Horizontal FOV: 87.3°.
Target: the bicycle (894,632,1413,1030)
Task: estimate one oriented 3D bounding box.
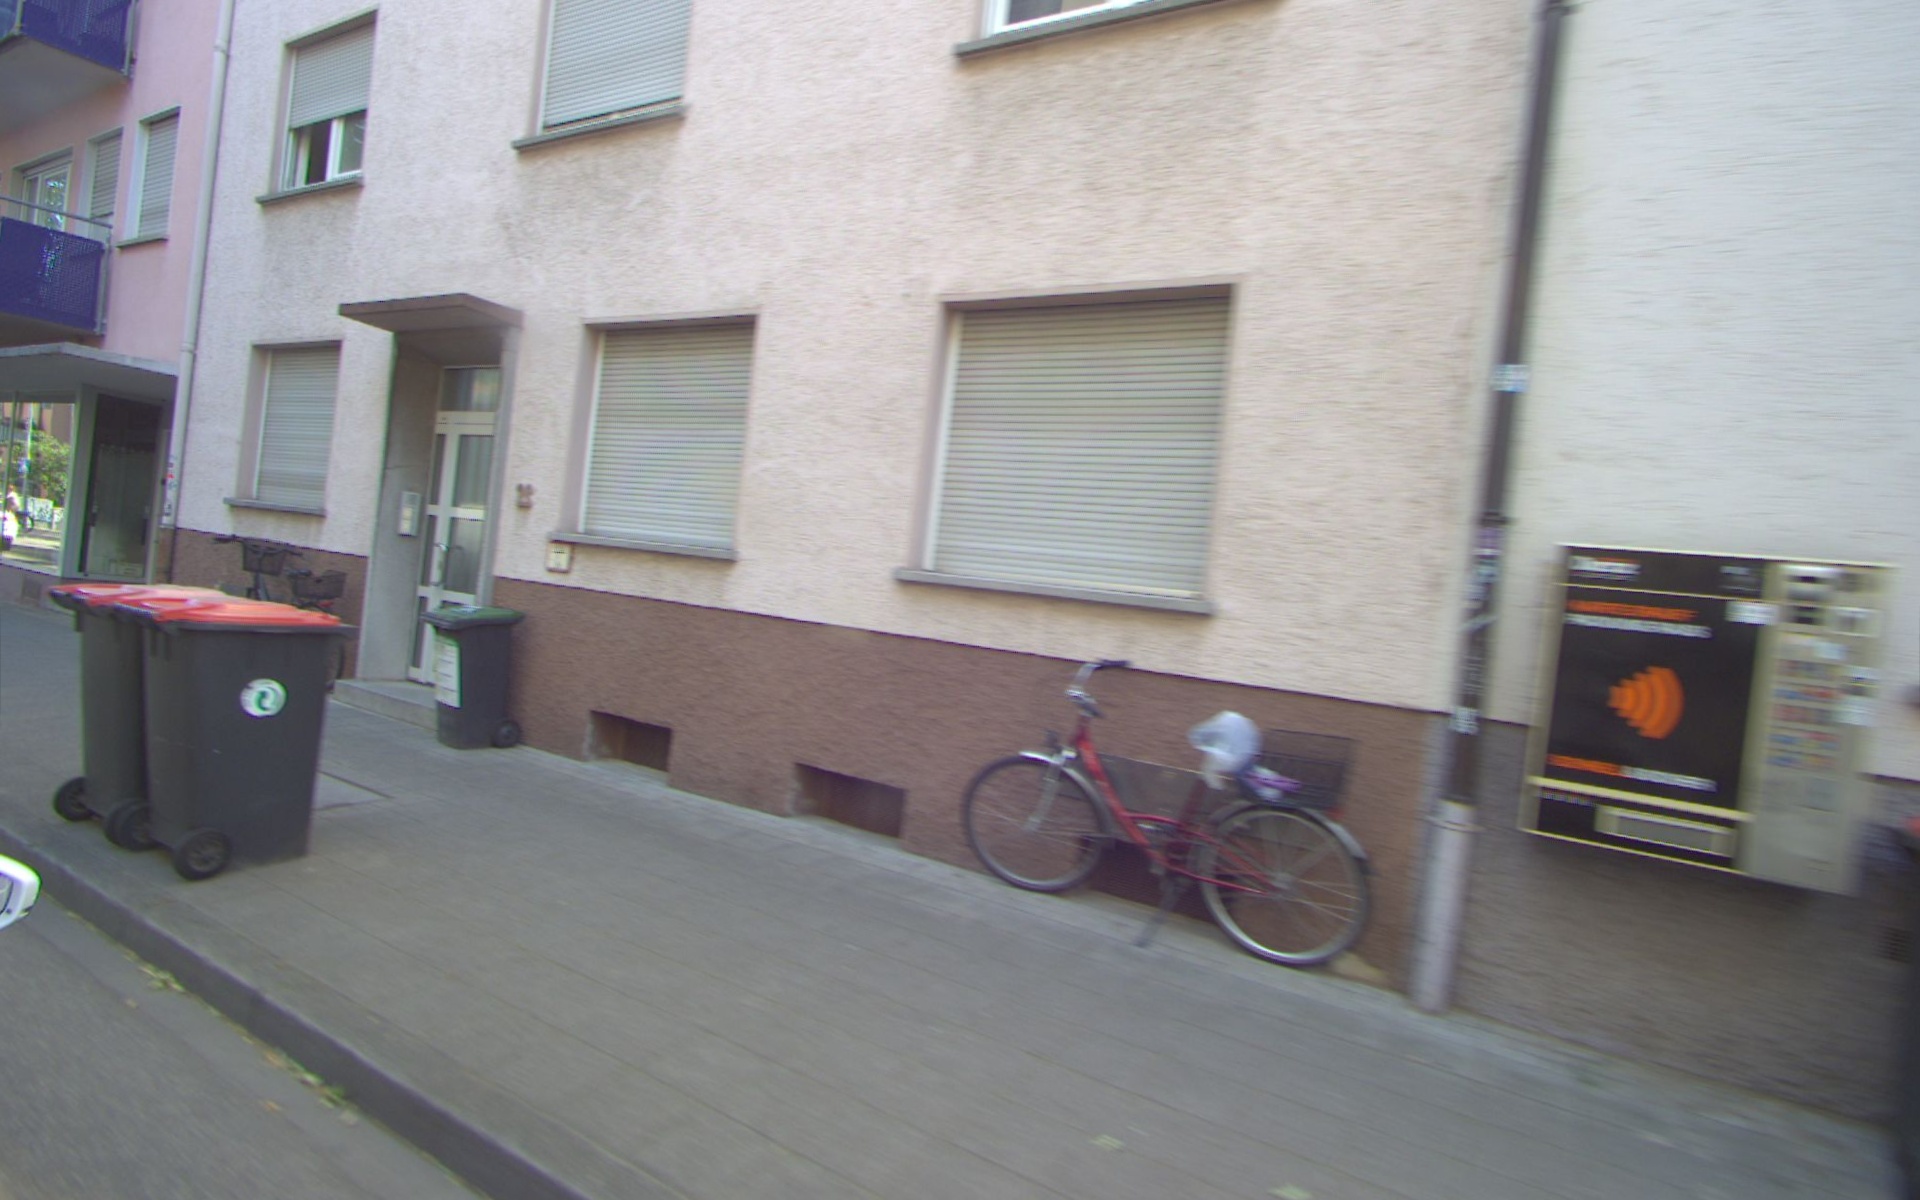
[{"bbox_3d":[0.742,0.850,4.322,2.042,1.187,0.536,7,5,31],"label":"bicycle"}]

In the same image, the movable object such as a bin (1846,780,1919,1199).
[{"bbox_3d":[2.987,1.147,2.757,0.629,1.112,0.738,6,3,32],"label":"movable object such as a bin"}]

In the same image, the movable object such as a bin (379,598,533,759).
[{"bbox_3d":[-3.382,0.514,6.757,0.671,0.963,0.598,6,0,33],"label":"movable object such as a bin"}]

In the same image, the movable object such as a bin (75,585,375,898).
[{"bbox_3d":[-3.023,0.539,4.161,0.692,1.094,0.733,6,0,32],"label":"movable object such as a bin"}]

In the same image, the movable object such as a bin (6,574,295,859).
[{"bbox_3d":[-3.621,0.487,4.524,0.682,1.100,0.768,6,0,32],"label":"movable object such as a bin"}]

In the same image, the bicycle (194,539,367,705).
[{"bbox_3d":[-5.601,0.140,8.246,1.889,1.149,0.453,6,3,33],"label":"bicycle"}]
